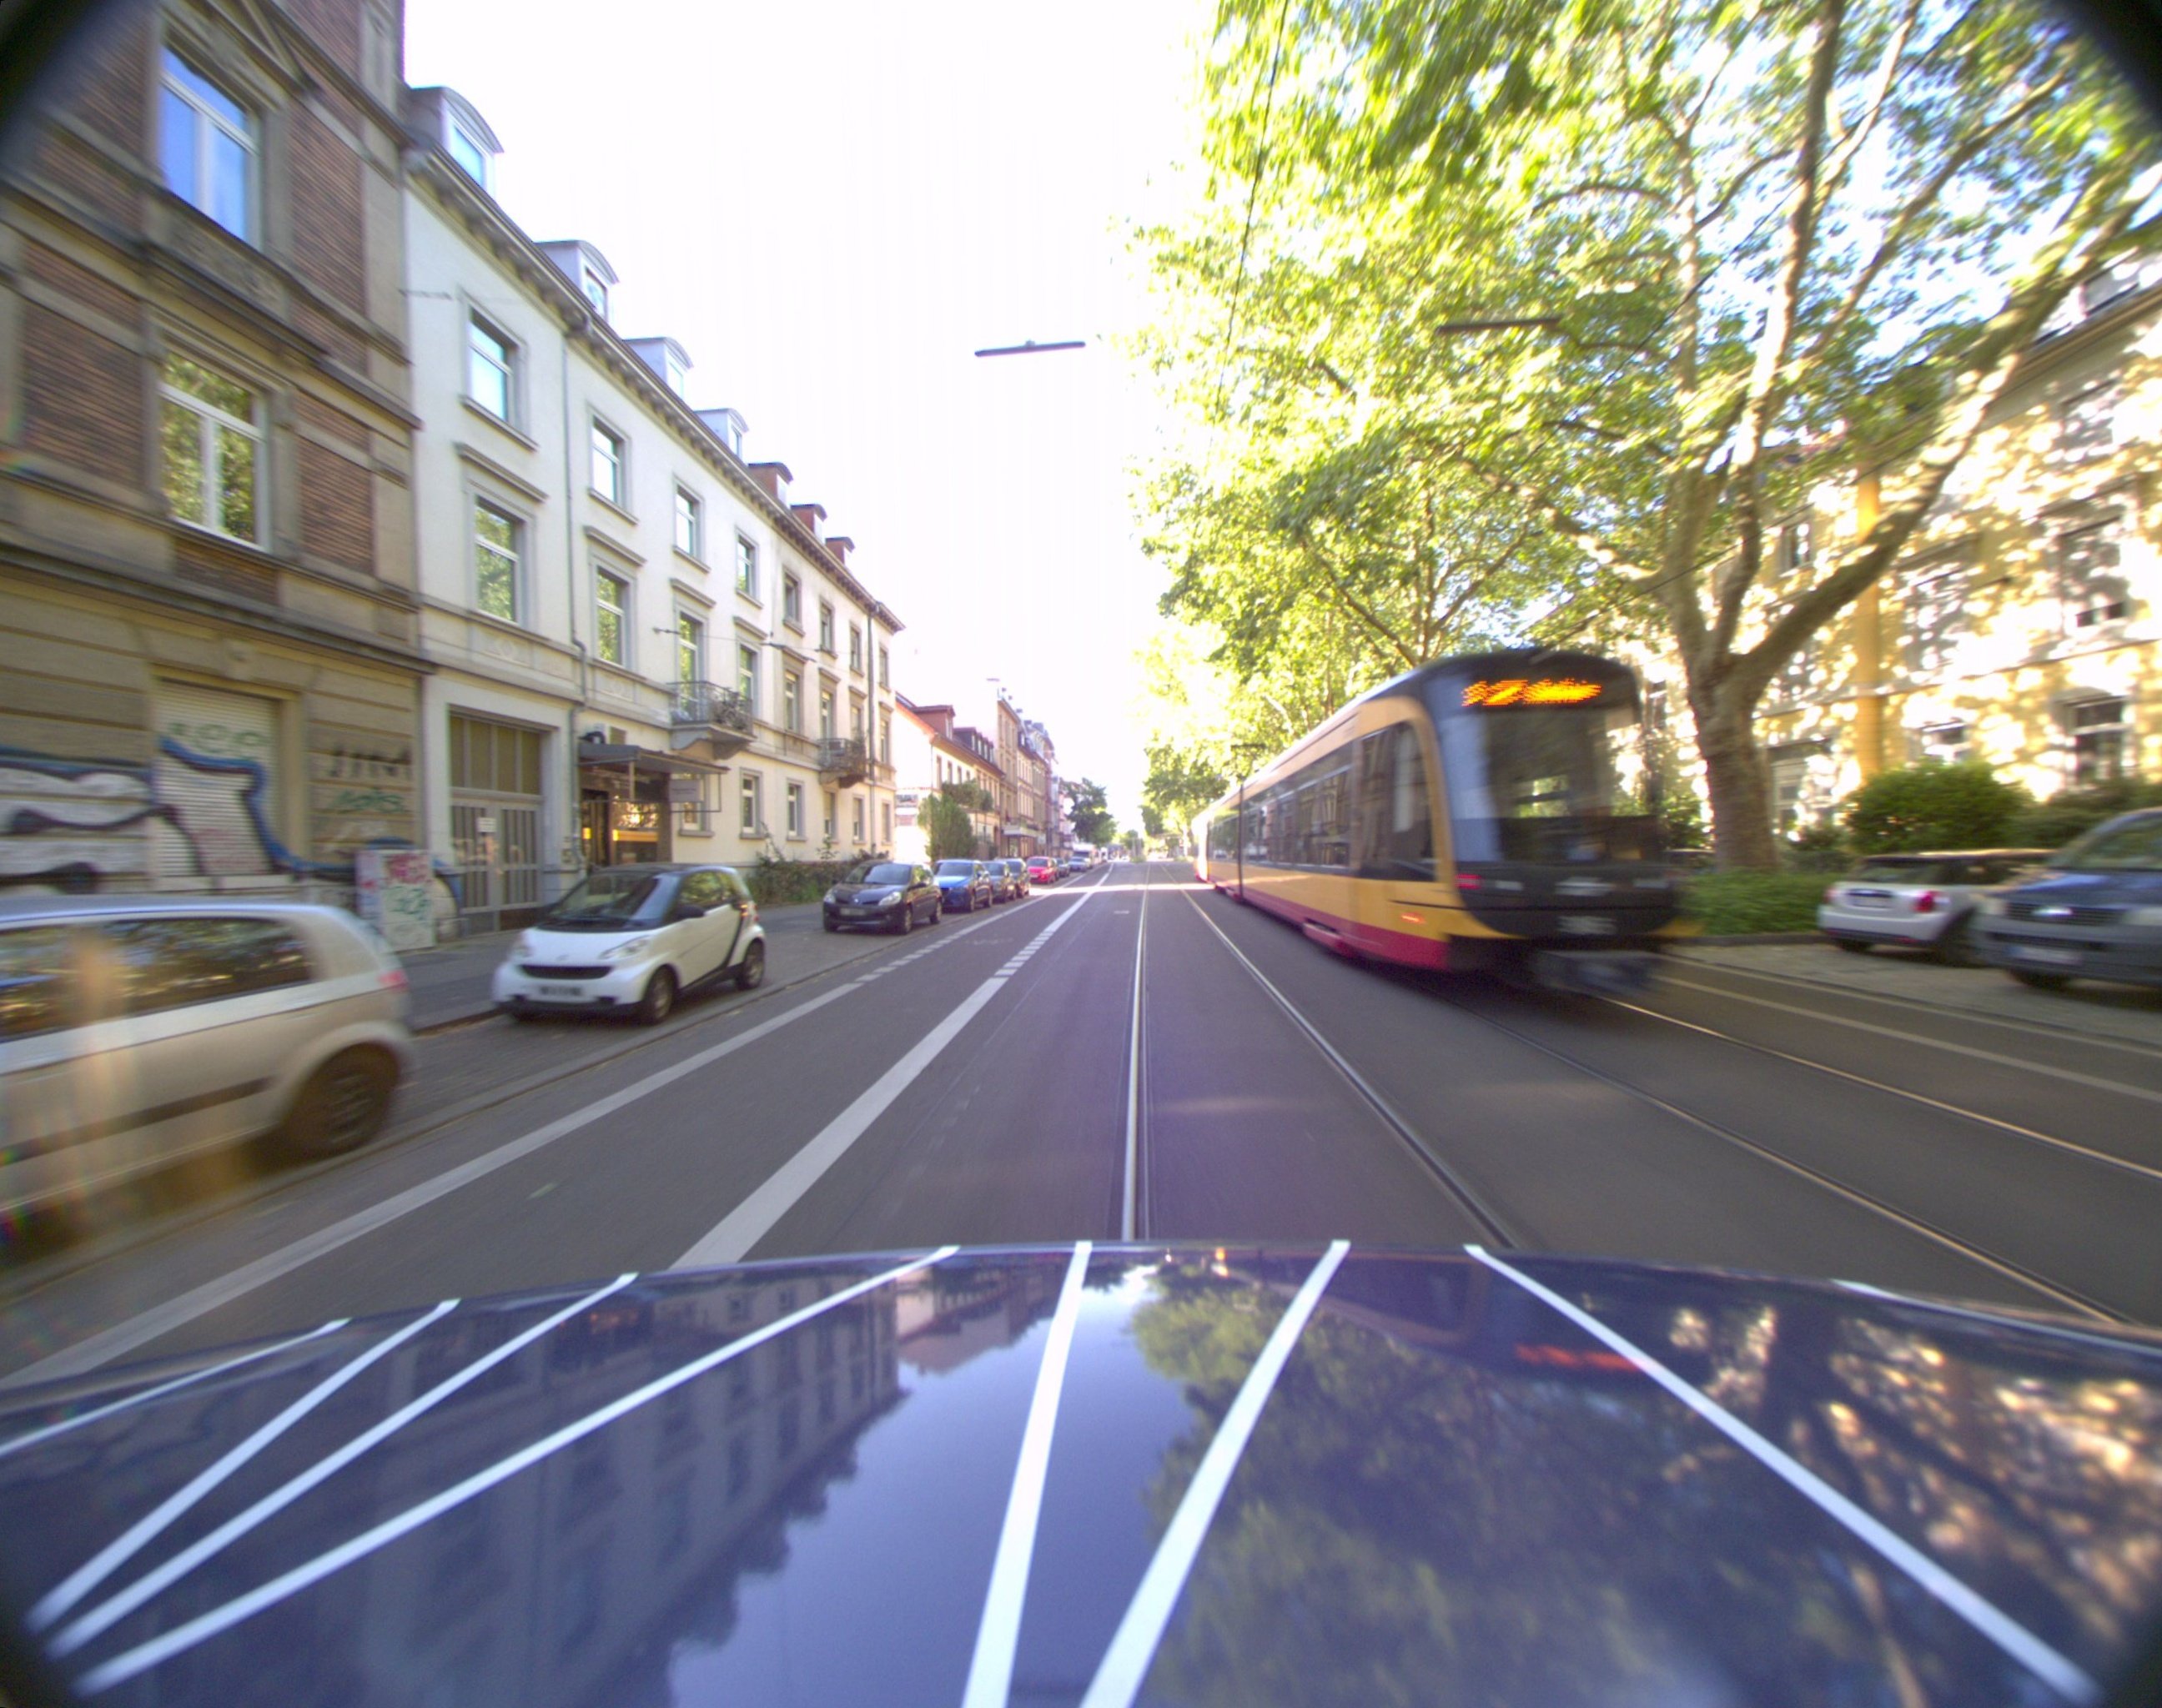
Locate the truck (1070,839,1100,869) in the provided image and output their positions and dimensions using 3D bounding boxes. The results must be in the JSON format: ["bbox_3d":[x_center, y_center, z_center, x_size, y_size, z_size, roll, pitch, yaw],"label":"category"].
[{"bbox_3d":[0.562,-0.063,87.695,2.841,3.145,7.293,-3,1,4],"label":"truck"}]

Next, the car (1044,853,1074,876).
[{"bbox_3d":[-1.557,0.735,54.749,1.702,1.559,3.687,0,1,5],"label":"car"}]

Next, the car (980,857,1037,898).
[{"bbox_3d":[-2.955,0.917,31.649,1.729,1.559,3.687,0,1,5],"label":"car"}]

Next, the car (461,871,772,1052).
[{"bbox_3d":[-4.786,0.999,8.287,1.513,1.534,2.821,1,1,4],"label":"car"}]

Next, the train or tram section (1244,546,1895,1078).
[{"bbox_3d":[4.601,-0.326,10.881,2.943,3.598,11.065,-3,1,5],"label":"train or tram section"}]

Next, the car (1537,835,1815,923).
[{"bbox_3d":[12.848,0.538,16.675,4.364,1.603,2.001,-3,0,4],"label":"car"}]

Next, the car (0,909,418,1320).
[{"bbox_3d":[-5.054,1.098,2.870,1.609,1.444,3.742,1,1,5],"label":"car"}]

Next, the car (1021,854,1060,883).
[{"bbox_3d":[-2.260,0.785,43.210,1.702,1.559,3.687,0,1,5],"label":"car"}]

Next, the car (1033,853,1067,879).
[{"bbox_3d":[-1.954,0.744,48.499,1.702,1.559,3.687,0,1,5],"label":"car"}]

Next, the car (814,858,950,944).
[{"bbox_3d":[-4.146,0.908,16.472,1.634,1.497,3.908,3,1,3],"label":"car"}]

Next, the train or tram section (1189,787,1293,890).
[{"bbox_3d":[6.713,-0.656,33.836,2.943,3.598,12.413,-3,1,5],"label":"train or tram section"}]

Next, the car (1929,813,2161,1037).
[{"bbox_3d":[11.543,0.502,7.204,4.638,1.896,1.922,-3,0,3],"label":"car"}]

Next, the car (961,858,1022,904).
[{"bbox_3d":[-3.183,0.938,27.670,1.542,1.497,3.360,0,1,5],"label":"car"}]

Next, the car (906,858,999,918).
[{"bbox_3d":[-3.748,0.946,22.791,1.728,1.497,3.908,3,1,5],"label":"car"}]

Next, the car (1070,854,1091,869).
[{"bbox_3d":[-0.023,0.704,73.192,1.702,1.324,3.687,0,1,5],"label":"car"}]

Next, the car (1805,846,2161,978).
[{"bbox_3d":[12.518,0.697,9.899,4.364,1.399,1.658,-3,0,4],"label":"car"}]

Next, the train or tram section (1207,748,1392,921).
[{"bbox_3d":[5.634,-0.494,22.032,2.943,3.598,11.261,-3,1,5],"label":"train or tram section"}]
